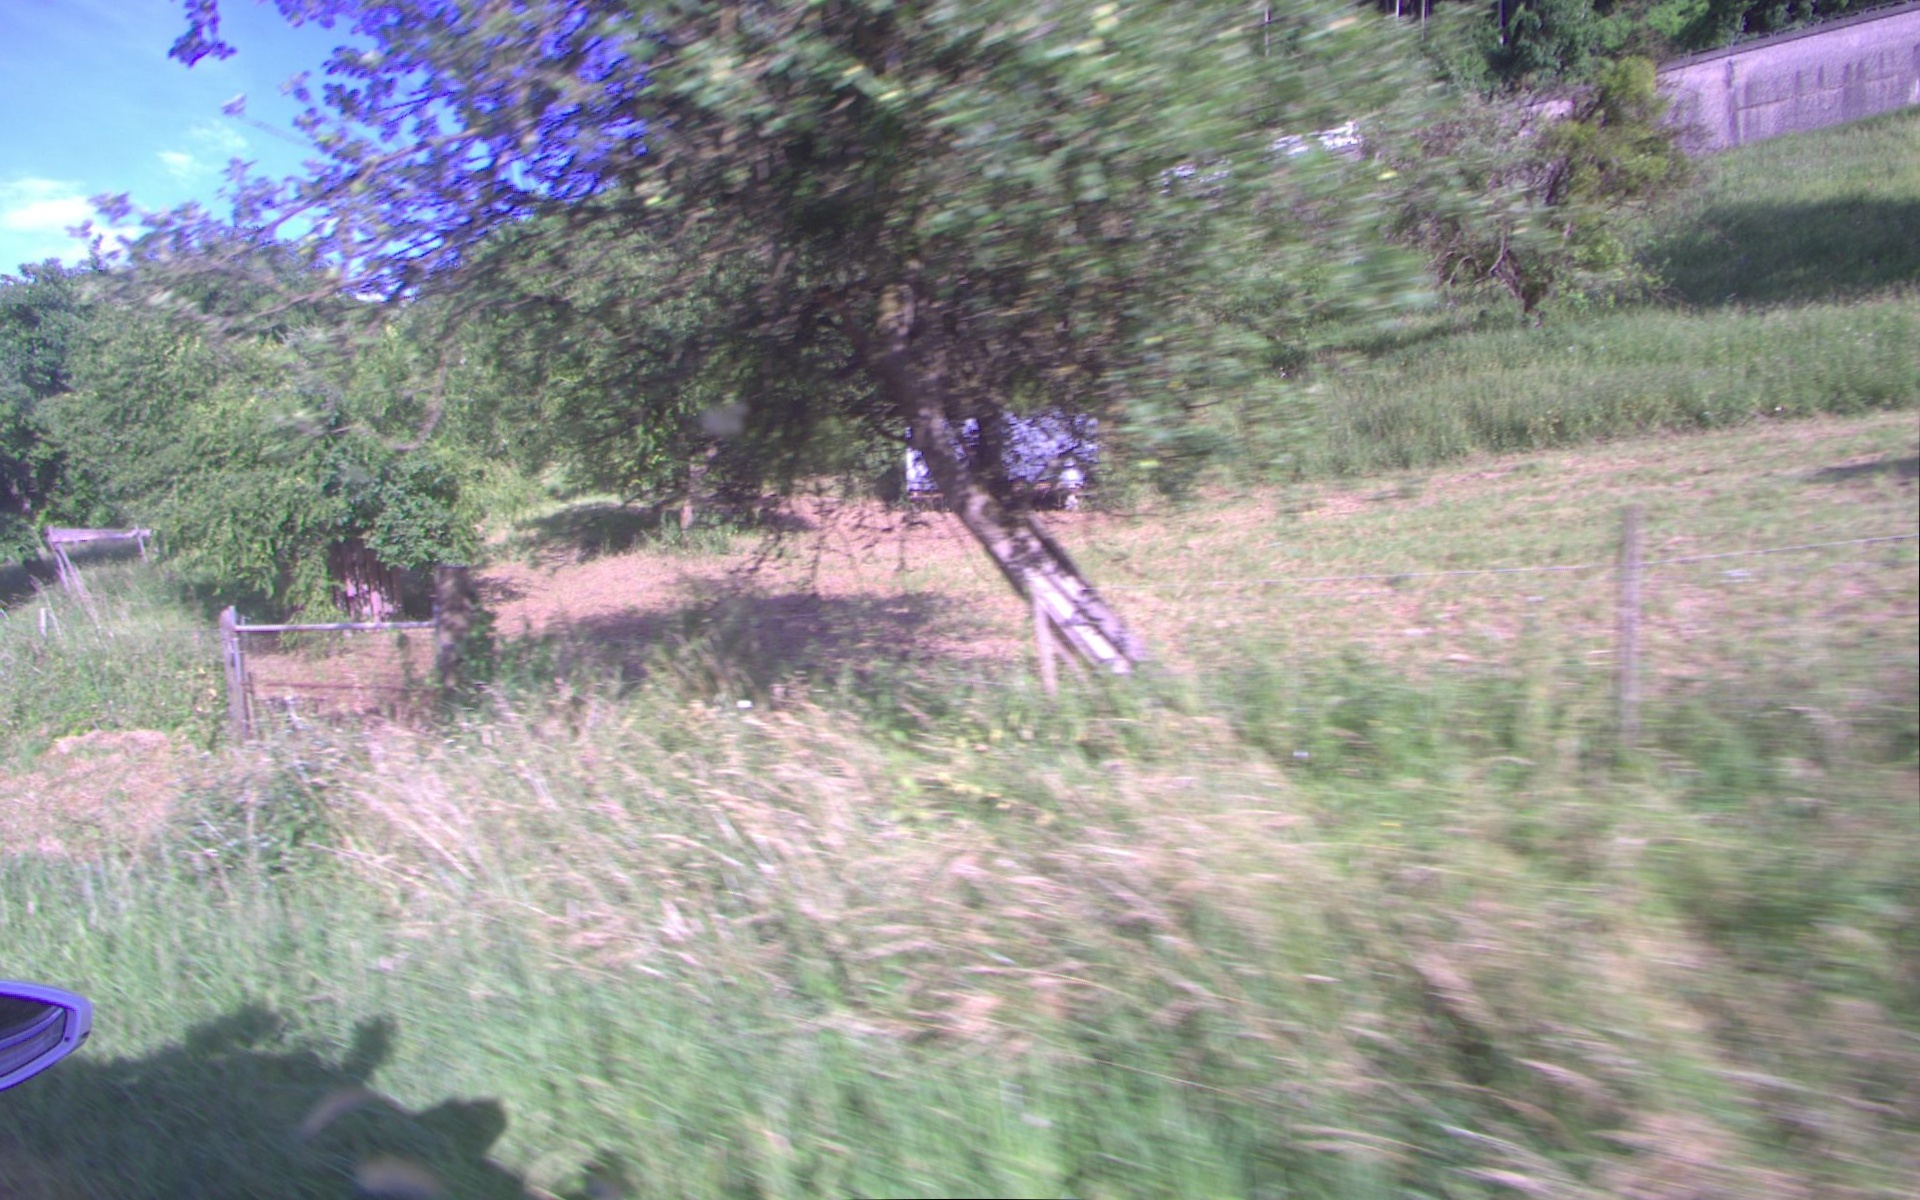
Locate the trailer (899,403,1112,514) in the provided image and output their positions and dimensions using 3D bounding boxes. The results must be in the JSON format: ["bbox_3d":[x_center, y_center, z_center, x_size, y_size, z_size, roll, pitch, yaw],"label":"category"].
[{"bbox_3d":[1.151,-3.599,26.352,5.163,2.595,2.149,3,4,28],"label":"trailer"}]
